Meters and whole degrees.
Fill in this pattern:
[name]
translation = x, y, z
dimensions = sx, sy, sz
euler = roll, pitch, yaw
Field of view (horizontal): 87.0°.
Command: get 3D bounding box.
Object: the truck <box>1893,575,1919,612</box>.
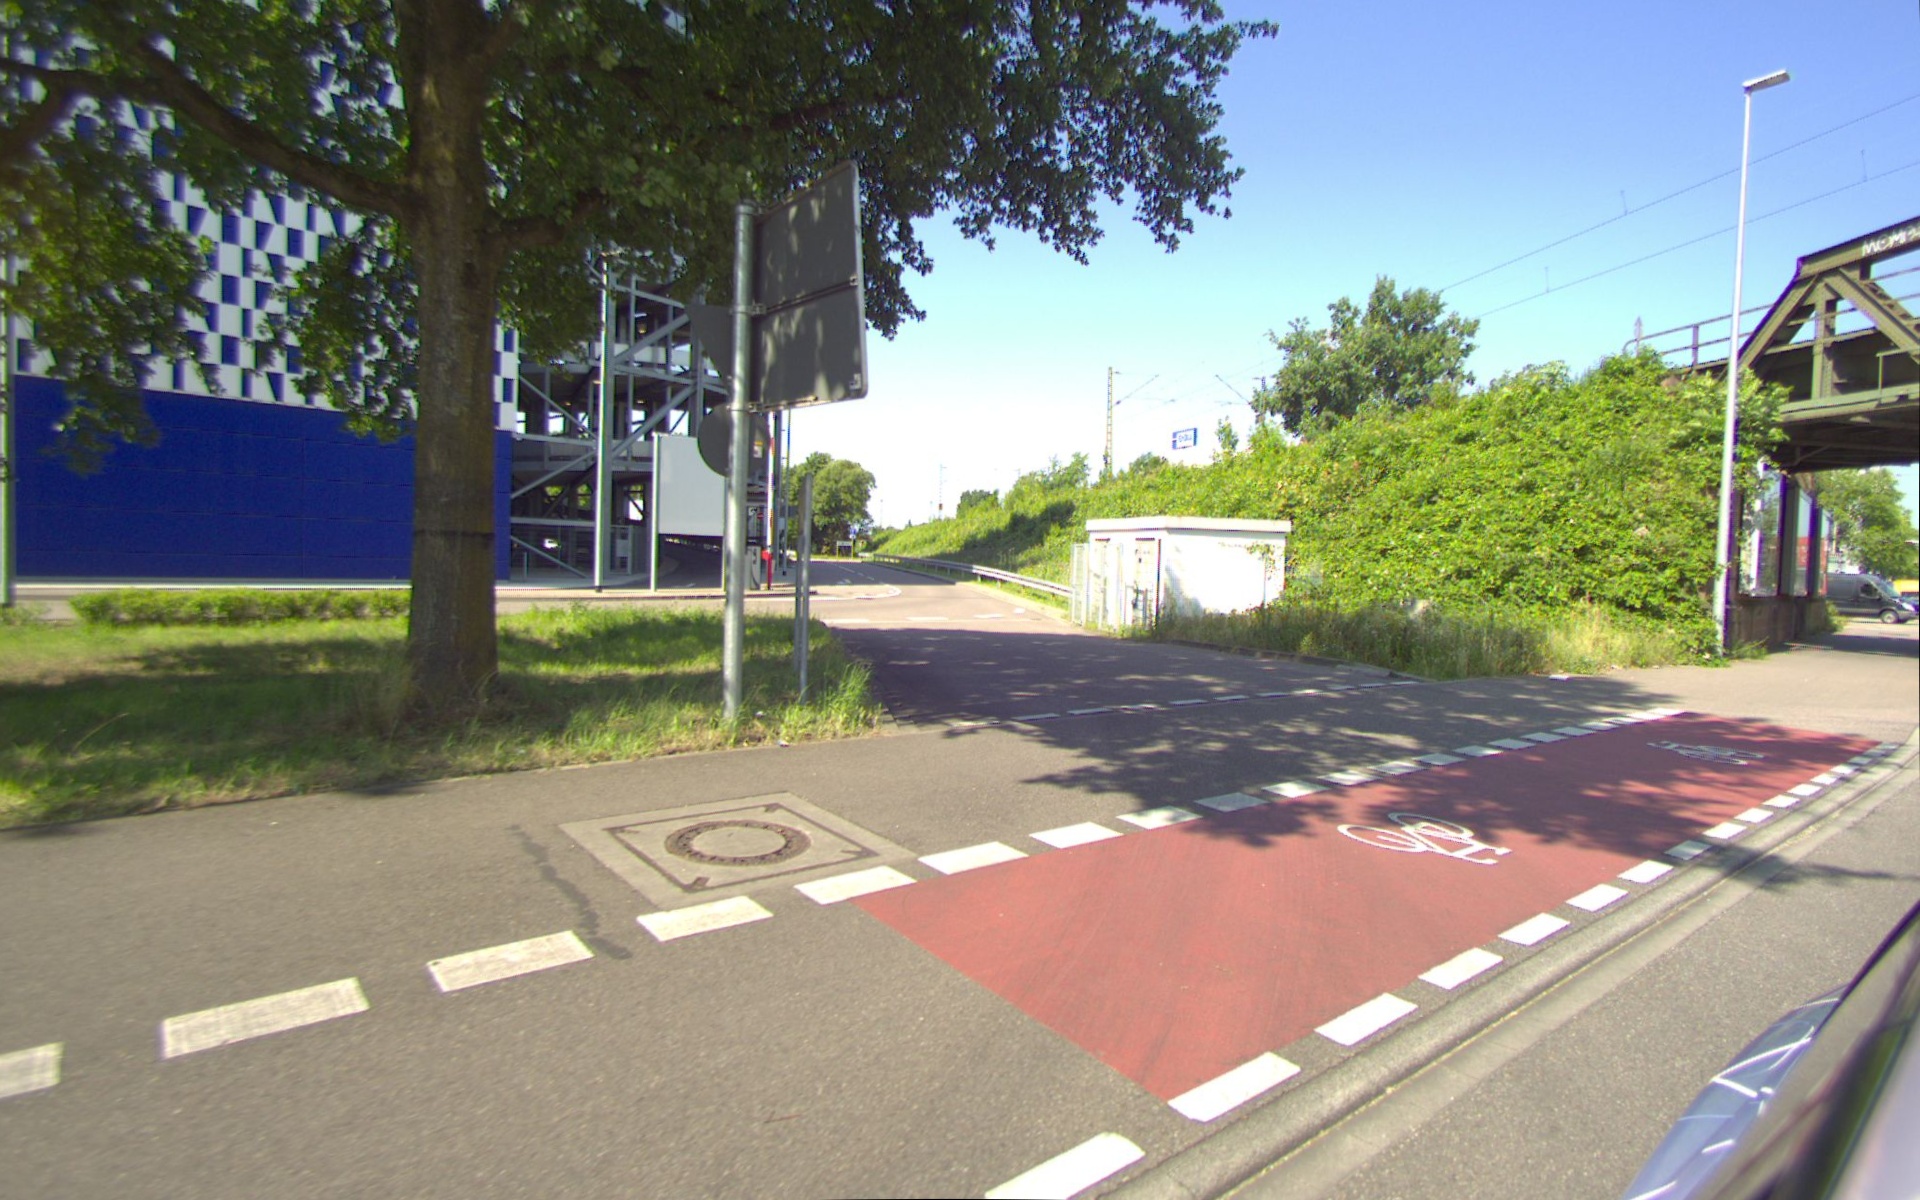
[truck]
translation = 78.051, -0.517, 82.575
dimensions = 2.399, 2.899, 5.722
euler = 0, -1, 39

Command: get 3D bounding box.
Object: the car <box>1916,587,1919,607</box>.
[car]
translation = 68.067, -0.153, 70.532
dimensions = 1.817, 1.370, 3.941
euler = 3, 3, 41

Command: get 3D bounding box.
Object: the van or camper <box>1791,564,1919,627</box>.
[van or camper]
translation = 48.250, -0.207, 53.822
dimensions = 2.550, 3.195, 5.781
euler = 1, -1, -35
